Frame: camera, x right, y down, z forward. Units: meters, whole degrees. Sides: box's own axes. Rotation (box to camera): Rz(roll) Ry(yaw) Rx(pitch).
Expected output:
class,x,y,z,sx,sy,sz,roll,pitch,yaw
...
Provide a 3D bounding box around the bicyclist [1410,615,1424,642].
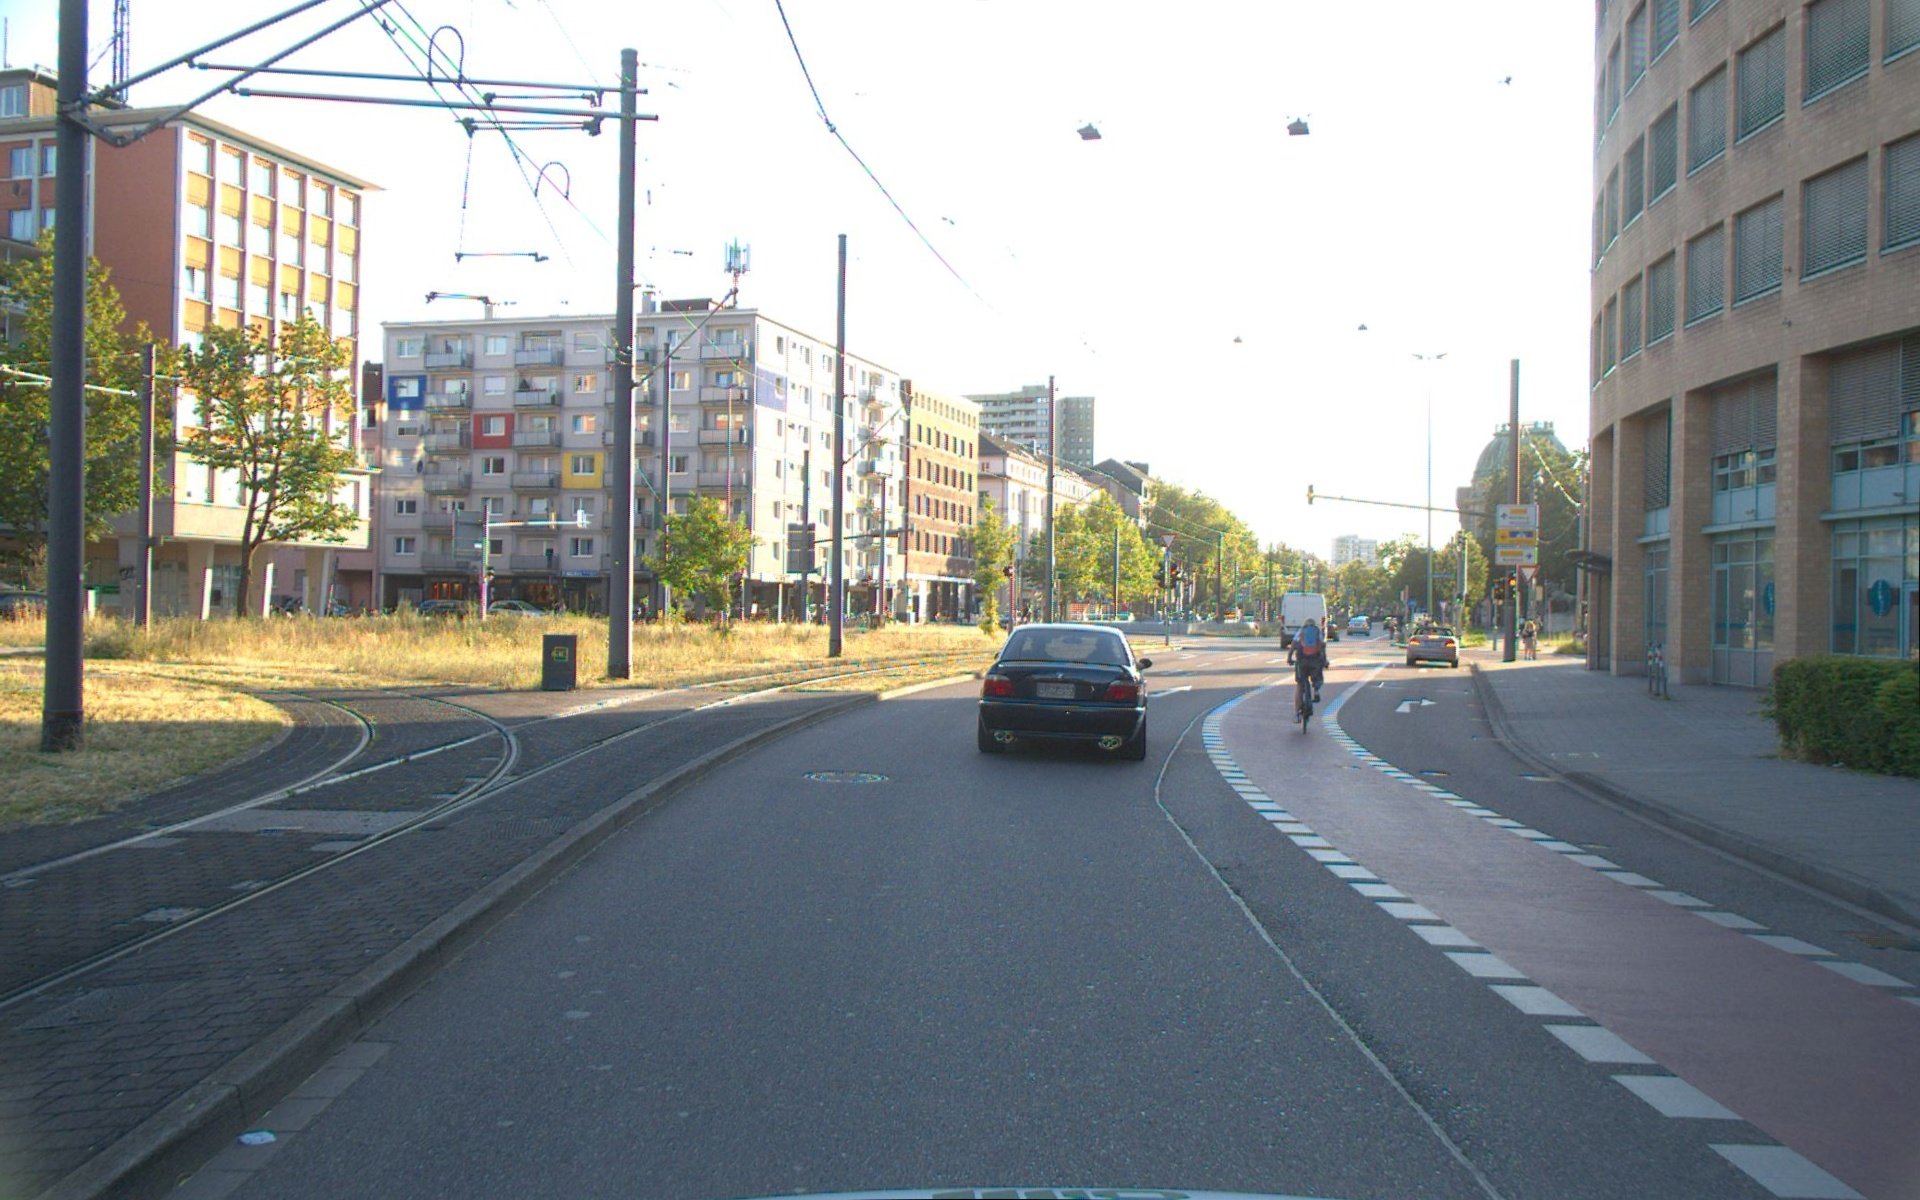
class,x,y,z,sx,sy,sz,roll,pitch,yaw
bicyclist,26.882,1.671,97.389,0.780,1.599,0.664,0,0,15

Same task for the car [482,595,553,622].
class,x,y,z,sx,sy,sz,roll,pitch,yaw
car,-27.011,0.521,100.920,3.782,1.612,1.805,1,1,12

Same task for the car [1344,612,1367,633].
class,x,y,z,sx,sy,sz,roll,pitch,yaw
car,33.082,1.856,138.413,1.756,1.593,4.004,1,1,13

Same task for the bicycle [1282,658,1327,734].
class,x,y,z,sx,sy,sz,roll,pitch,yaw
bicycle,5.010,1.376,23.995,0.504,0.971,1.777,2,0,15

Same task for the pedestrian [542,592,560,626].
class,x,y,z,sx,sy,sz,roll,pitch,yaw
pedestrian,-23.381,0.503,94.531,0.690,1.884,0.737,0,0,17

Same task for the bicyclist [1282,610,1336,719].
class,x,y,z,sx,sy,sz,roll,pitch,yaw
bicyclist,5.047,0.915,23.877,0.641,1.509,1.038,3,0,15

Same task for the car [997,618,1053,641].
class,x,y,z,sx,sy,sz,roll,pitch,yaw
car,4.704,2.126,119.017,3.903,1.459,1.720,2,1,6

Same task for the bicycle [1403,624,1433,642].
class,x,y,z,sx,sy,sz,roll,pitch,yaw
bicycle,26.956,1.941,97.370,1.692,0.987,0.610,1,1,16

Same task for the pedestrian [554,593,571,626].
class,x,y,z,sx,sy,sz,roll,pitch,yaw
pedestrian,-22.616,0.519,94.191,0.589,1.880,0.822,0,0,17

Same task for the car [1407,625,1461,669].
class,x,y,z,sx,sy,sz,roll,pitch,yaw
car,16.911,1.646,59.055,1.746,1.377,4.269,2,1,16

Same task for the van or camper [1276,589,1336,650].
class,x,y,z,sx,sy,sz,roll,pitch,yaw
van or camper,15.862,0.851,75.696,2.215,2.671,4.505,1,1,17

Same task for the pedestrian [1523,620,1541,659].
class,x,y,z,sx,sy,sz,roll,pitch,yaw
pedestrian,23.802,1.624,68.840,0.662,1.597,0.801,0,0,15

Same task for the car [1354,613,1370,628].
class,x,y,z,sx,sy,sz,roll,pitch,yaw
car,47.608,2.425,195.828,1.756,1.593,4.004,1,1,13

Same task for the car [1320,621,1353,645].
class,x,y,z,sx,sy,sz,roll,pitch,yaw
car,23.973,2.095,105.219,1.701,1.410,4.002,1,1,17

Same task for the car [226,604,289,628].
class,x,y,z,sx,sy,sz,roll,pitch,yaw
car,-50.173,1.144,118.150,3.782,1.612,1.805,1,1,12

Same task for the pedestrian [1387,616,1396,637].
class,x,y,z,sx,sy,sz,roll,pitch,yaw
pedestrian,31.447,1.951,120.536,0.603,1.501,0.800,1,0,21

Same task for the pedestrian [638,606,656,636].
class,x,y,z,sx,sy,sz,roll,pitch,yaw
pedestrian,-17.966,1.181,94.971,0.723,1.699,0.783,0,0,17

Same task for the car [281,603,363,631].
class,x,y,z,sx,sy,sz,roll,pitch,yaw
car,-38.083,1.011,98.737,4.188,1.612,1.991,1,1,12

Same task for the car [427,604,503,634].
class,x,y,z,sx,sy,sz,roll,pitch,yaw
car,-28.509,1.079,95.239,3.782,1.612,1.805,1,1,12

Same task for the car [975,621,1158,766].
class,x,y,z,sx,sy,sz,roll,pitch,yaw
car,1.297,0.972,18.996,1.791,1.378,4.644,2,-1,6

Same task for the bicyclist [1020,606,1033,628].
class,x,y,z,sx,sy,sz,roll,pitch,yaw
bicyclist,4.698,1.219,117.298,0.835,1.467,0.664,3,1,6

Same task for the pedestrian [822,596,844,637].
class,x,y,z,sx,sy,sz,roll,pitch,yaw
pedestrian,-5.522,0.711,71.713,0.708,1.793,0.647,1,0,38
